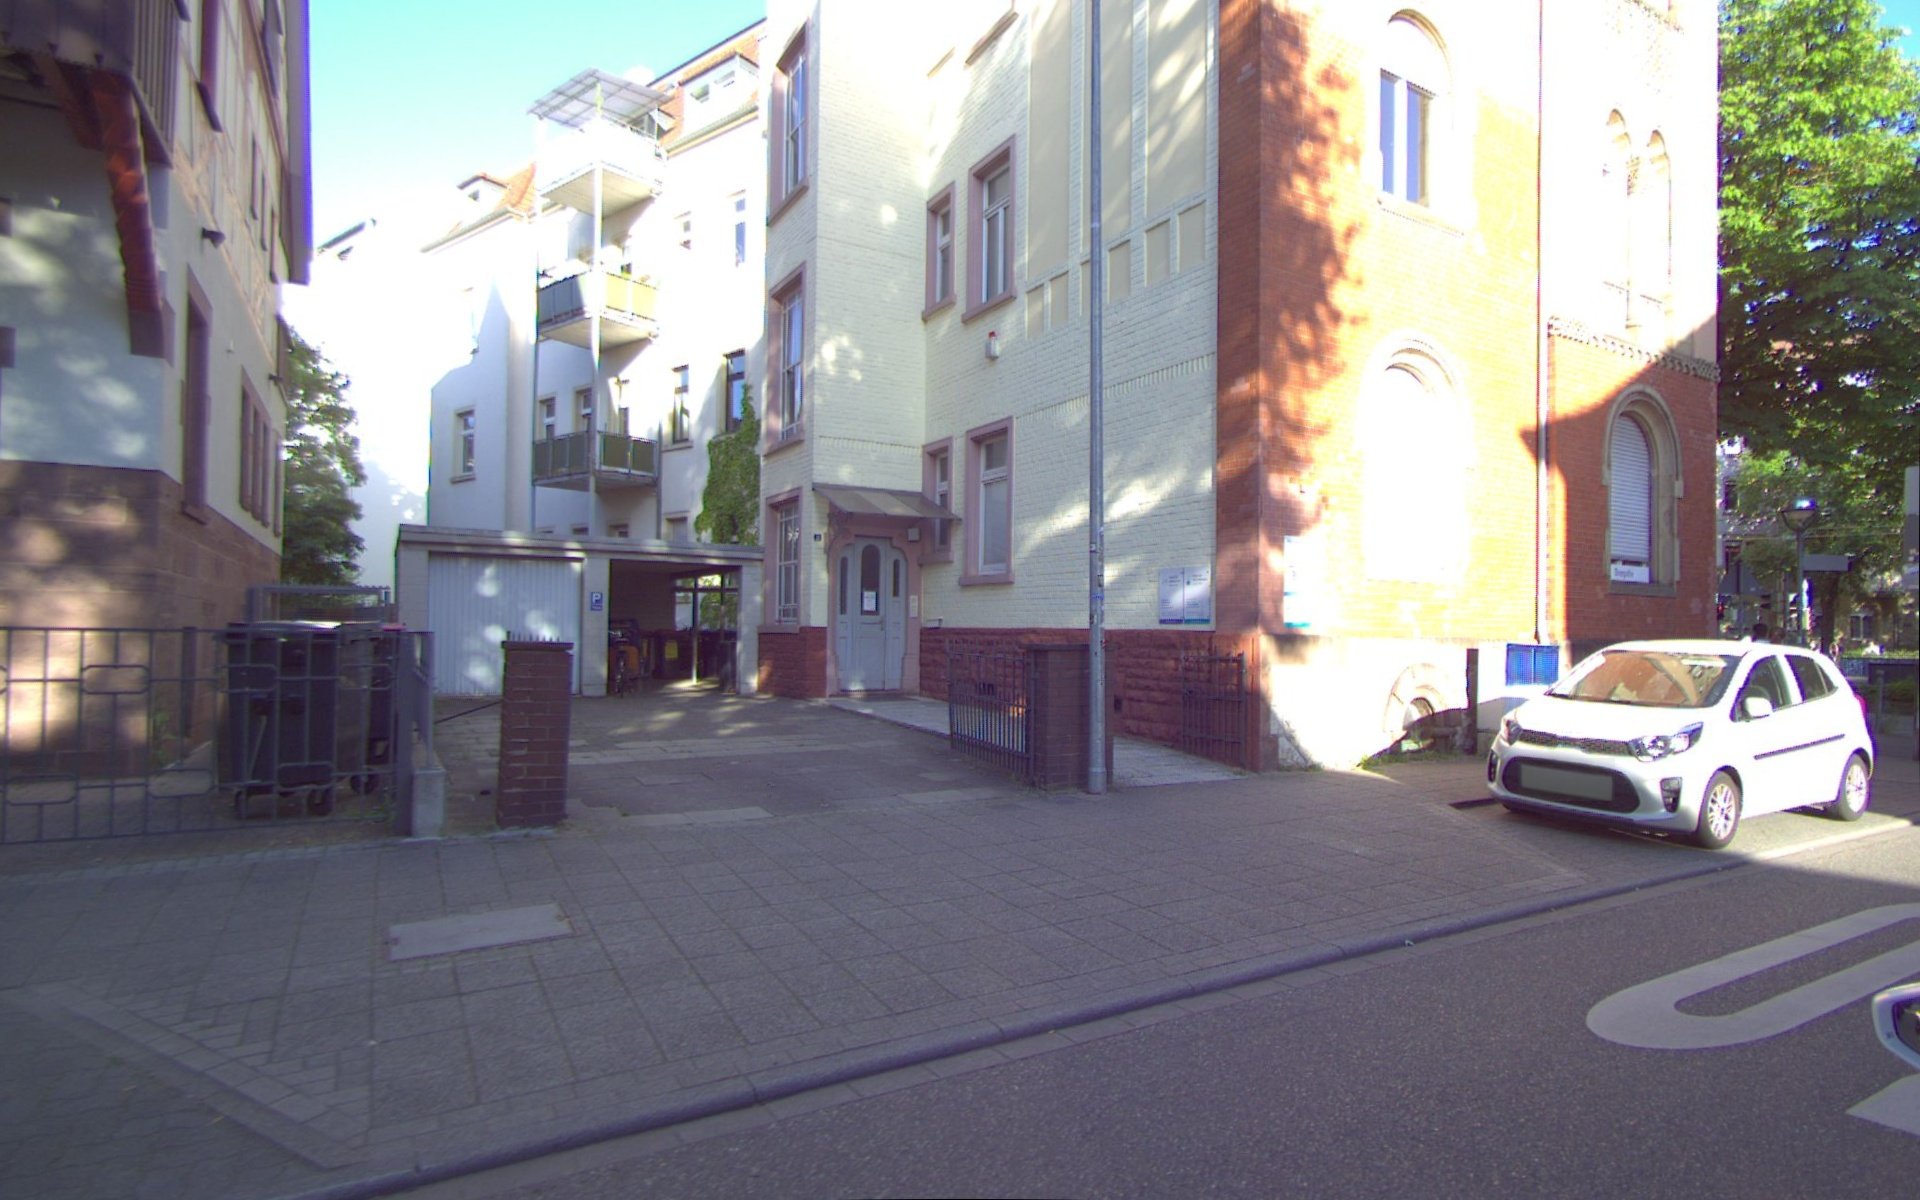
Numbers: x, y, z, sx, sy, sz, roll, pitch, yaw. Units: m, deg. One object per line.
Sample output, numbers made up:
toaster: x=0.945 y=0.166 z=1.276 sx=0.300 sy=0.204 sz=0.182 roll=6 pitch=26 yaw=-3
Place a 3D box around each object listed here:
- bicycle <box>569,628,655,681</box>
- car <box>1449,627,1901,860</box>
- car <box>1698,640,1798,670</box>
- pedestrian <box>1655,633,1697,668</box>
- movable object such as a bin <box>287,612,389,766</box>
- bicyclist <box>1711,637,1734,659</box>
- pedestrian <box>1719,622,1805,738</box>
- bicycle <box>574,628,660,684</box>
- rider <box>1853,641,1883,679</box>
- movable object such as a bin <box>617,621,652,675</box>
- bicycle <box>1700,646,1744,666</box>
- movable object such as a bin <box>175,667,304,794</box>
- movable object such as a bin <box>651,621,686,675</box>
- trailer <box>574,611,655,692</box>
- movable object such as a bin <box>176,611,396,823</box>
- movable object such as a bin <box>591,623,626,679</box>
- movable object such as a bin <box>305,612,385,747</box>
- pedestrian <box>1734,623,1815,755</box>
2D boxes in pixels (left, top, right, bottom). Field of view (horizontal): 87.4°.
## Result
bicycle: x=-6.783 y=1.066 z=19.639 sx=1.455 sy=1.004 sz=0.543 roll=1 pitch=-3 yaw=0
car: x=6.073 y=1.037 z=8.463 sx=3.753 sy=1.505 sz=1.697 roll=2 pitch=0 yaw=-30
car: x=39.560 y=2.755 z=50.466 sx=3.635 sy=1.458 sz=1.900 roll=1 pitch=-2 yaw=-4
pedestrian: x=40.628 y=2.876 z=57.007 sx=1.467 sy=1.937 sz=1.258 roll=1 pitch=-2 yaw=-9
movable object such as a bin: x=-5.885 y=0.788 z=9.474 sx=0.681 sy=1.335 sz=1.370 roll=2 pitch=-1 yaw=-37
bicyclist: x=37.126 y=2.331 z=48.895 sx=0.664 sy=1.068 sz=0.612 roll=1 pitch=-1 yaw=-3
pedestrian: x=11.972 y=1.166 z=14.999 sx=0.854 sy=1.665 sz=0.859 roll=2 pitch=-2 yaw=-41
bicycle: x=-6.478 y=1.063 z=19.013 sx=1.345 sy=1.031 sz=0.674 roll=1 pitch=-4 yaw=0
rider: x=42.578 y=2.803 z=47.105 sx=0.660 sy=1.704 sz=0.818 roll=2 pitch=0 yaw=-20
movable object such as a bin: x=-6.975 y=1.019 z=21.510 sx=0.531 sy=1.139 sz=0.773 roll=1 pitch=-1 yaw=-31
bicycle: x=37.080 y=2.716 z=48.880 sx=1.708 sy=0.958 sz=0.654 roll=1 pitch=-1 yaw=-3
movable object such as a bin: x=-5.399 y=0.961 z=7.561 sx=0.663 sy=0.890 sz=0.480 roll=1 pitch=-1 yaw=-21
movable object such as a bin: x=-6.326 y=1.031 z=21.766 sx=0.531 sy=1.139 sz=0.773 roll=1 pitch=-1 yaw=-31
trailer: x=-5.659 y=0.853 z=16.596 sx=0.757 sy=1.234 sz=2.410 roll=1 pitch=-3 yaw=-7
movable object such as a bin: x=-4.635 y=0.746 z=7.043 sx=0.954 sy=1.316 sz=1.374 roll=1 pitch=-1 yaw=-20
movable object such as a bin: x=-7.389 y=1.061 z=21.112 sx=0.531 sy=1.139 sz=0.773 roll=1 pitch=-1 yaw=-31
movable object such as a bin: x=-6.468 y=0.802 z=10.611 sx=0.623 sy=1.327 sz=1.196 roll=1 pitch=-1 yaw=-28
pedestrian: x=10.407 y=1.111 z=12.837 sx=0.847 sy=1.626 sz=0.596 roll=2 pitch=-2 yaw=-36
